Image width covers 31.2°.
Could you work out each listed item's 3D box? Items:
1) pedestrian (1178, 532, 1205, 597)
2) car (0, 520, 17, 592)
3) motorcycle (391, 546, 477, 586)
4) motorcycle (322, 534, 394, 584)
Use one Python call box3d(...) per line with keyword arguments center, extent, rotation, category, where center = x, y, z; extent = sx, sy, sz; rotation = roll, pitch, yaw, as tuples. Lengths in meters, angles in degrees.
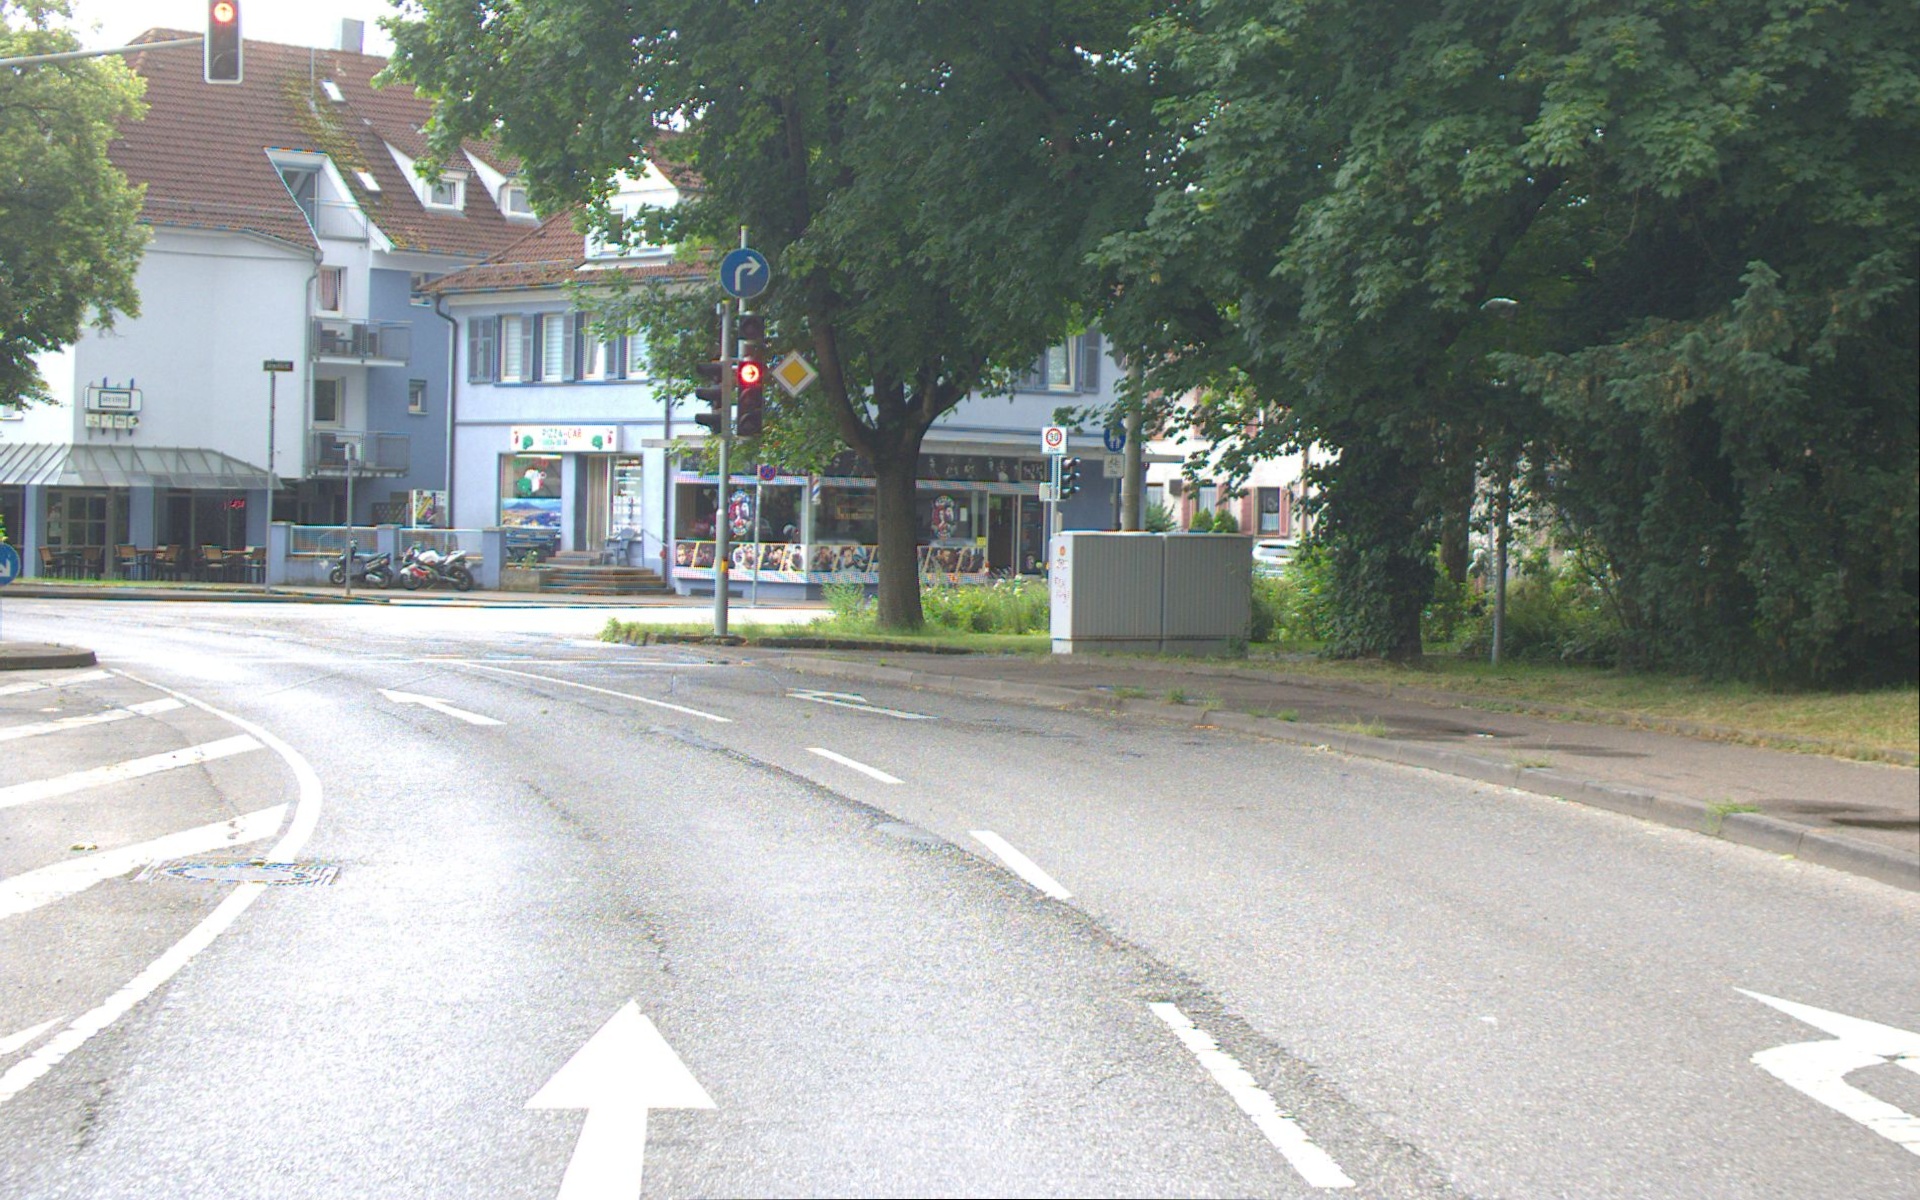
box3d(center=(5.512, -0.857, 81.917), extent=(0.500, 1.546, 0.404), rotation=(1, 1, 42), category="pedestrian")
box3d(center=(-22.299, -0.919, 71.929), extent=(4.580, 1.512, 1.999), rotation=(0, 1, 14), category="car")
box3d(center=(-11.964, -0.769, 78.233), extent=(1.838, 0.845, 0.560), rotation=(0, 7, 16), category="motorcycle")
box3d(center=(-13.909, -0.947, 79.397), extent=(1.496, 1.103, 0.560), rotation=(0, 6, 12), category="motorcycle")
